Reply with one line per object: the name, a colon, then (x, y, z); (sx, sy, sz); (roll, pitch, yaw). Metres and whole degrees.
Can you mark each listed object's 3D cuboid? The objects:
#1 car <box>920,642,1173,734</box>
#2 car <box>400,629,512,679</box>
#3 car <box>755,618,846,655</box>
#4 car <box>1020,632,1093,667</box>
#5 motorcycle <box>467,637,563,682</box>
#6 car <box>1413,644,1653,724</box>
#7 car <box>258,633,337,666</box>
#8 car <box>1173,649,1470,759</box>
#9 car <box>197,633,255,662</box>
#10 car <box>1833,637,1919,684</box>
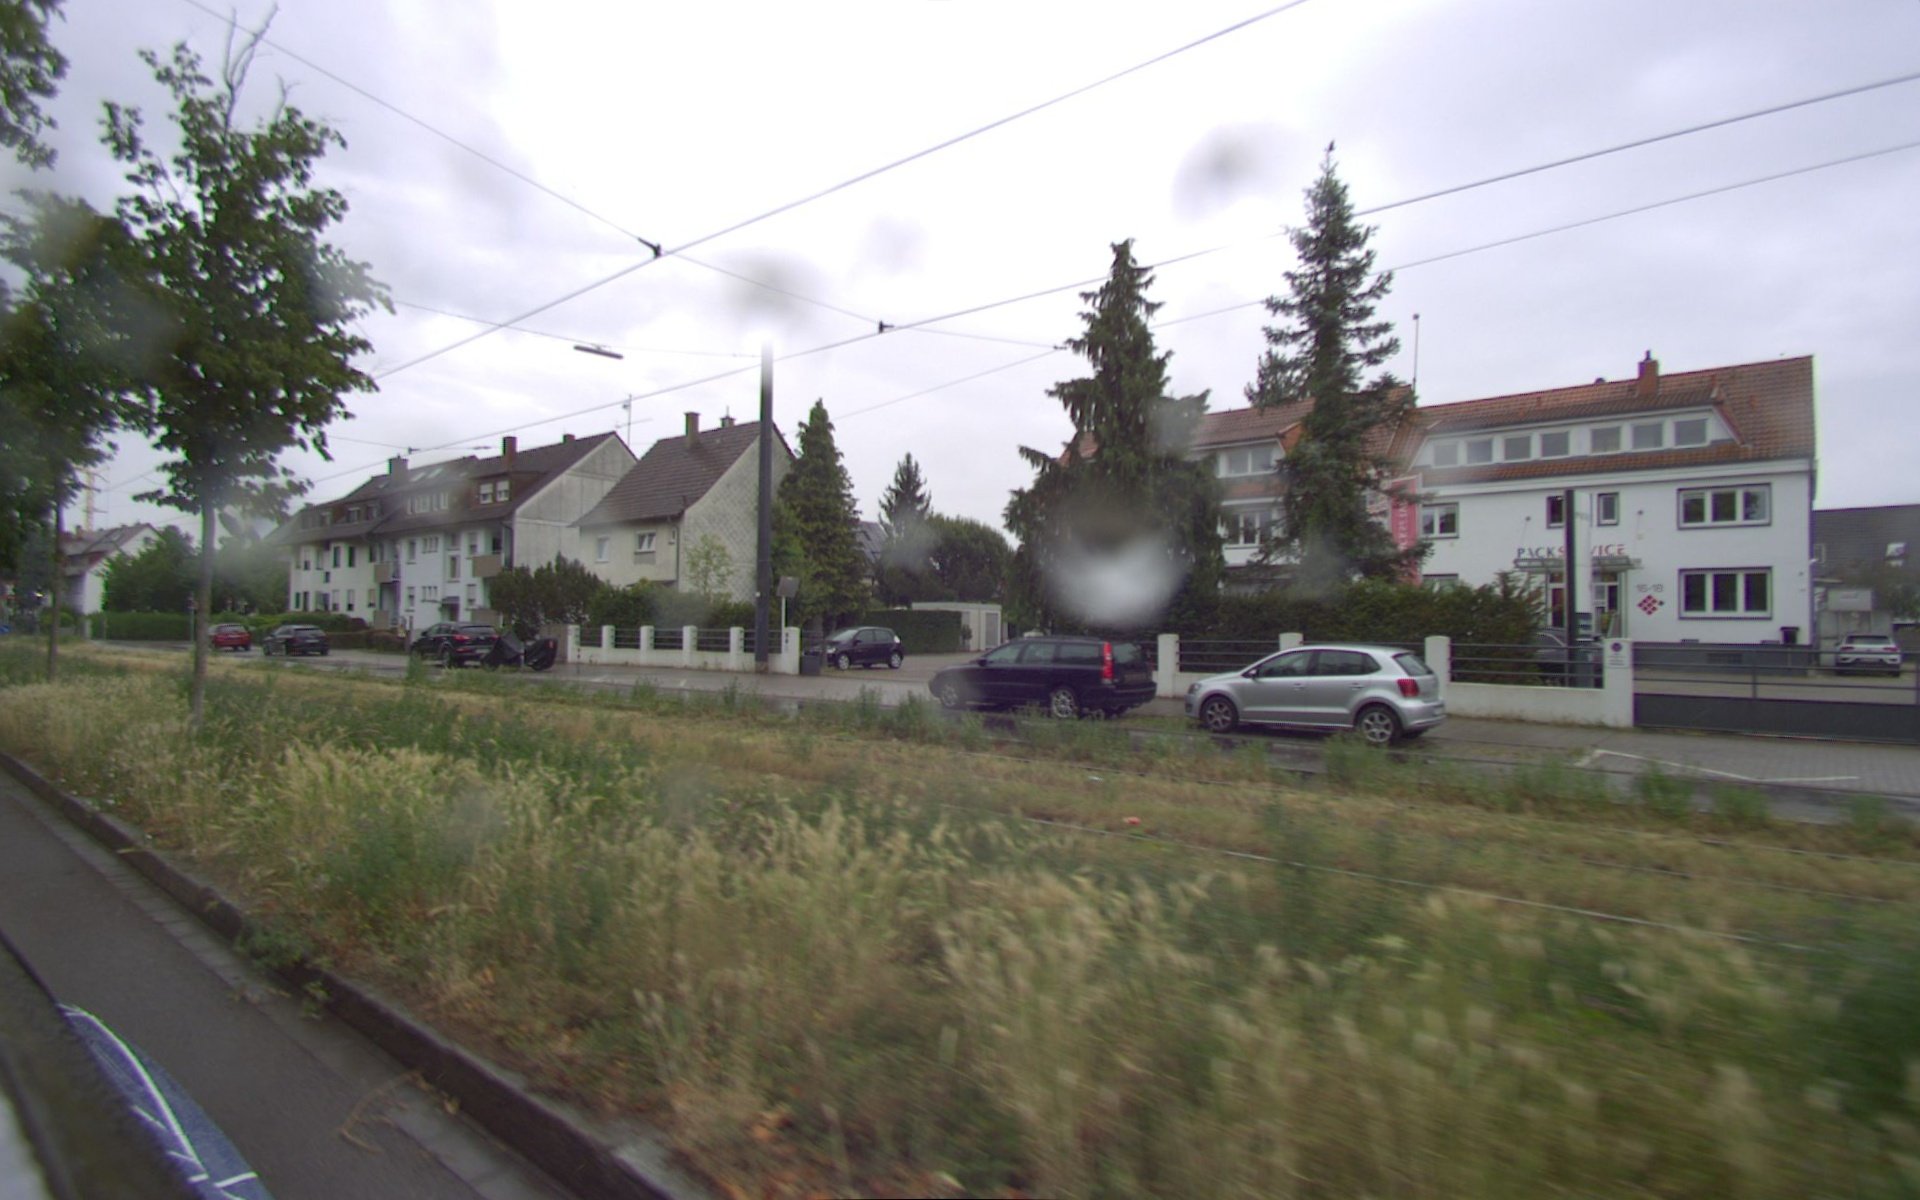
car: (1.543, 1.569, 19.232); (4.530, 1.467, 1.972); (-2, -2, 42)
car: (-18.376, 1.913, 36.815); (4.382, 1.687, 1.974); (-1, -2, 39)
car: (-7.126, 1.621, 45.547); (1.702, 1.551, 3.918); (-2, -2, 39)
car: (4.661, 2.328, 48.367); (1.701, 1.551, 3.922); (-2, -2, 36)
motorcycle: (-14.633, 1.948, 33.349); (2.645, 1.421, 1.269); (1, -1, -7)
car: (11.520, 1.618, 20.469); (3.968, 1.421, 1.681); (-2, -2, 40)
car: (-31.134, 2.290, 47.486); (4.760, 1.421, 1.972); (-2, -2, 42)
car: (5.610, 1.528, 15.930); (3.968, 1.421, 1.973); (-2, -2, 40)
car: (-39.897, 2.558, 54.972); (3.999, 1.468, 1.778); (-2, -2, 42)
car: (33.221, 2.166, 36.791); (1.958, 1.564, 3.949); (-1, -3, 37)
